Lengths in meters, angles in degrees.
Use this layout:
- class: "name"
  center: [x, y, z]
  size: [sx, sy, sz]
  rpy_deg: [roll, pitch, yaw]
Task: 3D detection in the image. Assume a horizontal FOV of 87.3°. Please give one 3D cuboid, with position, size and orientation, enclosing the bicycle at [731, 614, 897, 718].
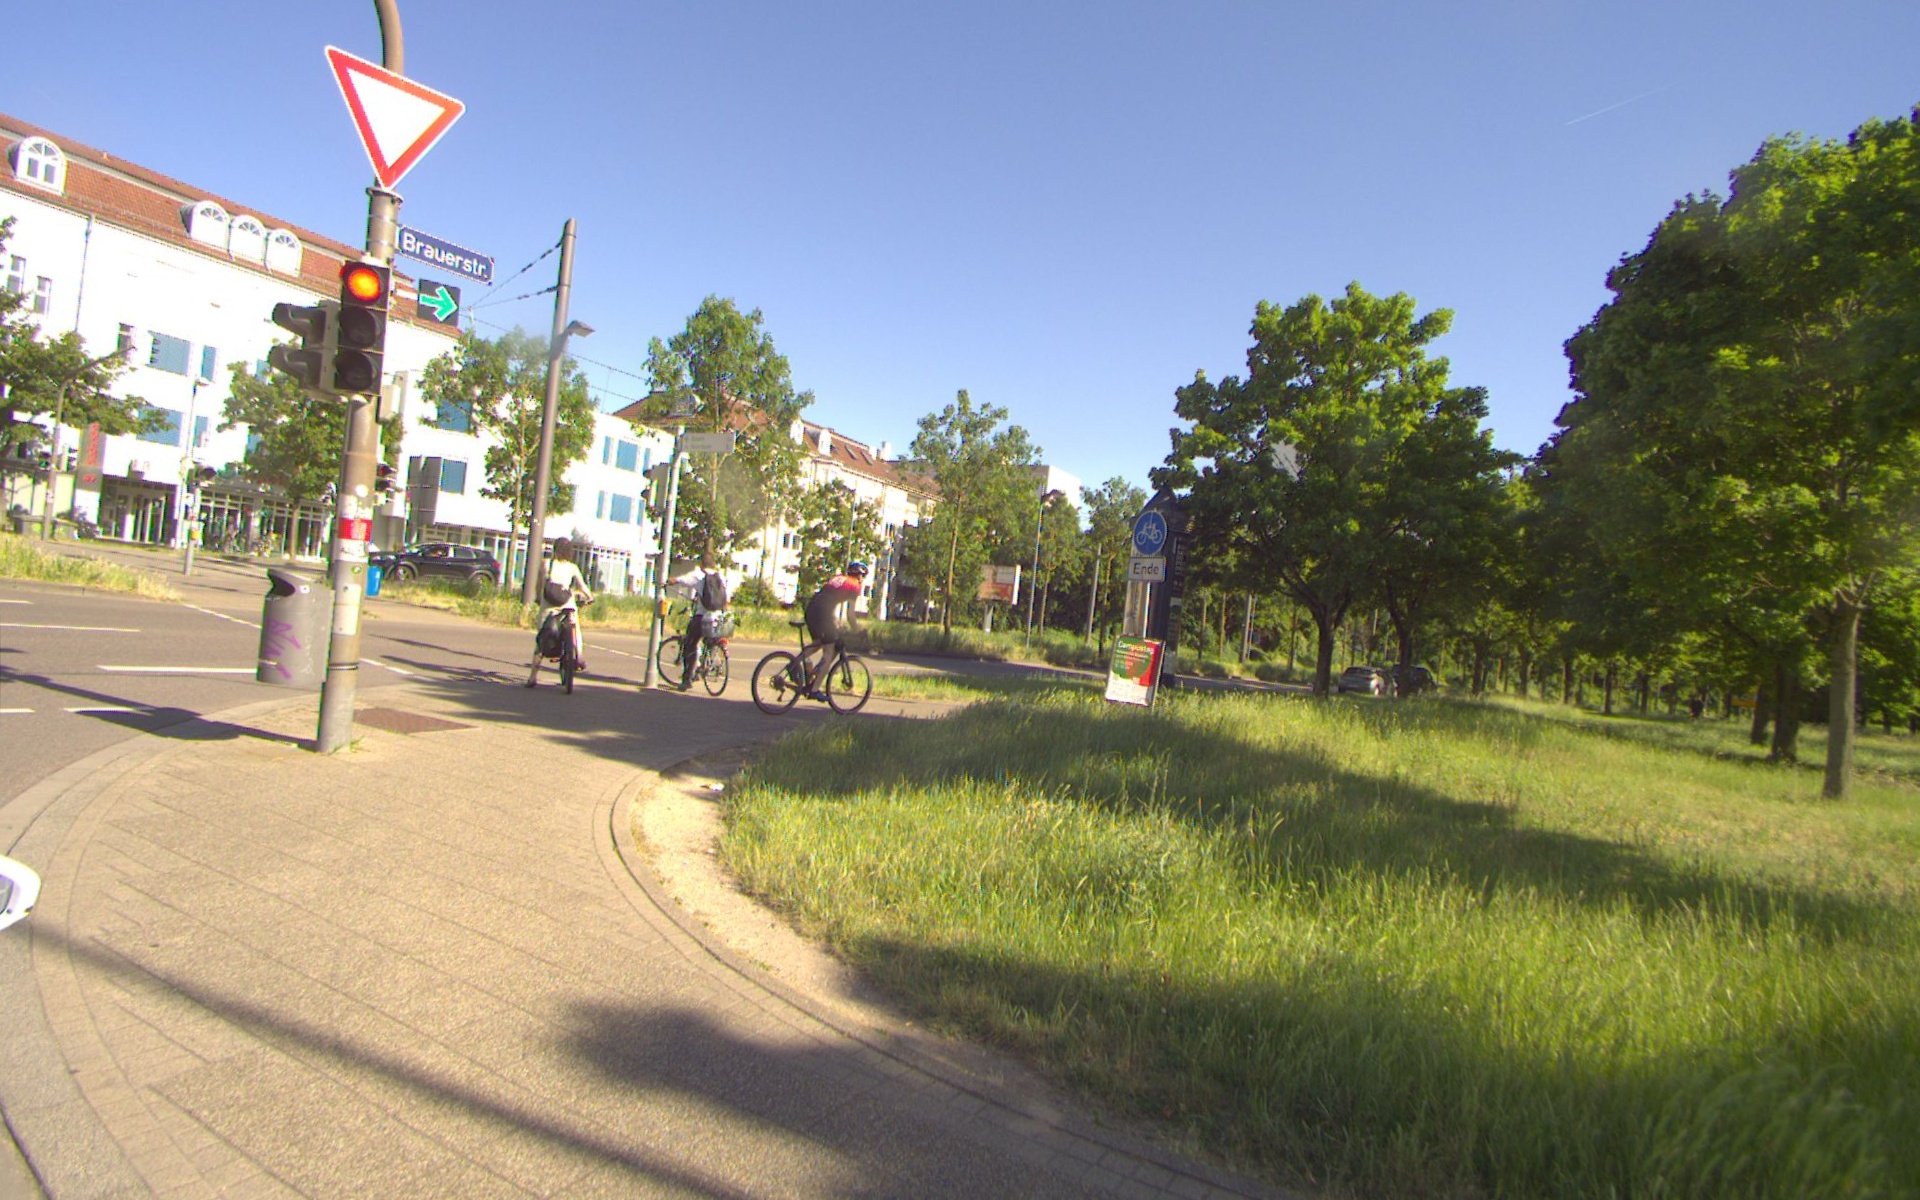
- class: "bicycle"
  center: [-1.653, 0.787, 11.646]
  size: [0.664, 1.068, 1.802]
  rpy_deg: [6, 0, 42]

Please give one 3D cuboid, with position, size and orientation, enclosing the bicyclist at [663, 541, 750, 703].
- class: "bicyclist"
  center: [-3.338, 0.283, 13.203]
  size: [0.782, 1.983, 1.005]
  rpy_deg: [6, 0, -23]

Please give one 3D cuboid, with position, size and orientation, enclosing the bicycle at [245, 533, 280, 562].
- class: "bicycle"
  center: [-33.320, -2.520, 48.027]
  size: [1.838, 1.197, 0.561]
  rpy_deg: [6, 0, 31]

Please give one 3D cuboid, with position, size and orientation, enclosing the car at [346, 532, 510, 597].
- class: "car"
  center: [-18.264, -1.192, 34.732]
  size: [1.970, 1.629, 4.499]
  rpy_deg: [6, -1, 38]

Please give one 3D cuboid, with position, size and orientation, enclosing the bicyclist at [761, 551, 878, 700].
- class: "bicyclist"
  center: [-1.612, 0.302, 11.625]
  size: [0.664, 1.605, 0.999]
  rpy_deg: [6, 0, 43]

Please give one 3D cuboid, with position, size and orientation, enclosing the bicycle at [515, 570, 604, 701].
- class: "bicycle"
  center: [-4.766, 0.367, 11.953]
  size: [0.782, 1.364, 2.068]
  rpy_deg: [6, 0, -23]

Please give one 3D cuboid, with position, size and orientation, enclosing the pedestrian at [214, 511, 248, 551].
- class: "pedestrian"
  center: [-34.926, -3.312, 48.204]
  size: [0.643, 1.744, 0.991]
  rpy_deg: [6, 0, 28]

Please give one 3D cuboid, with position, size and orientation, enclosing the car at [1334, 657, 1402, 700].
- class: "car"
  center: [19.777, 3.805, 48.653]
  size: [1.671, 1.595, 3.855]
  rpy_deg: [5, -4, 43]

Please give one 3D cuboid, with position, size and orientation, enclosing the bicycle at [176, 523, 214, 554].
- class: "bicycle"
  center: [-34.737, -2.799, 45.648]
  size: [1.837, 1.197, 0.561]
  rpy_deg: [6, 0, 28]

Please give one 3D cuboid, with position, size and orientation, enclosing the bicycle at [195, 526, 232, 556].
- class: "bicycle"
  center: [-34.572, -2.727, 46.586]
  size: [1.837, 1.197, 0.561]
  rpy_deg: [6, 0, 28]

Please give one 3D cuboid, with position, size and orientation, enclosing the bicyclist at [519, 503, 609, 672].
- class: "bicyclist"
  center: [-4.732, -0.146, 12.007]
  size: [0.782, 1.847, 1.129]
  rpy_deg: [6, 0, -23]

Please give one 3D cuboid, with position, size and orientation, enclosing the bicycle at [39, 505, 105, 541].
- class: "bicycle"
  center: [-36.048, -3.108, 40.861]
  size: [0.552, 1.197, 1.868]
  rpy_deg: [6, -1, 25]

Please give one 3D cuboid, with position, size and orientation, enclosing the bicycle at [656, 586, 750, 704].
- class: "bicycle"
  center: [-3.491, 0.548, 13.501]
  size: [0.782, 1.364, 2.251]
  rpy_deg: [6, 0, -23]

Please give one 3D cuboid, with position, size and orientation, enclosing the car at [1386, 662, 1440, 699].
- class: "car"
  center: [28.406, 5.046, 63.005]
  size: [1.740, 1.820, 4.482]
  rpy_deg: [5, -4, 40]

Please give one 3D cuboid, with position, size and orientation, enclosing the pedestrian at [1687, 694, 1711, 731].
- class: "pedestrian"
  center: [36.777, 5.587, 50.078]
  size: [0.727, 1.748, 0.887]
  rpy_deg: [7, 0, 33]
